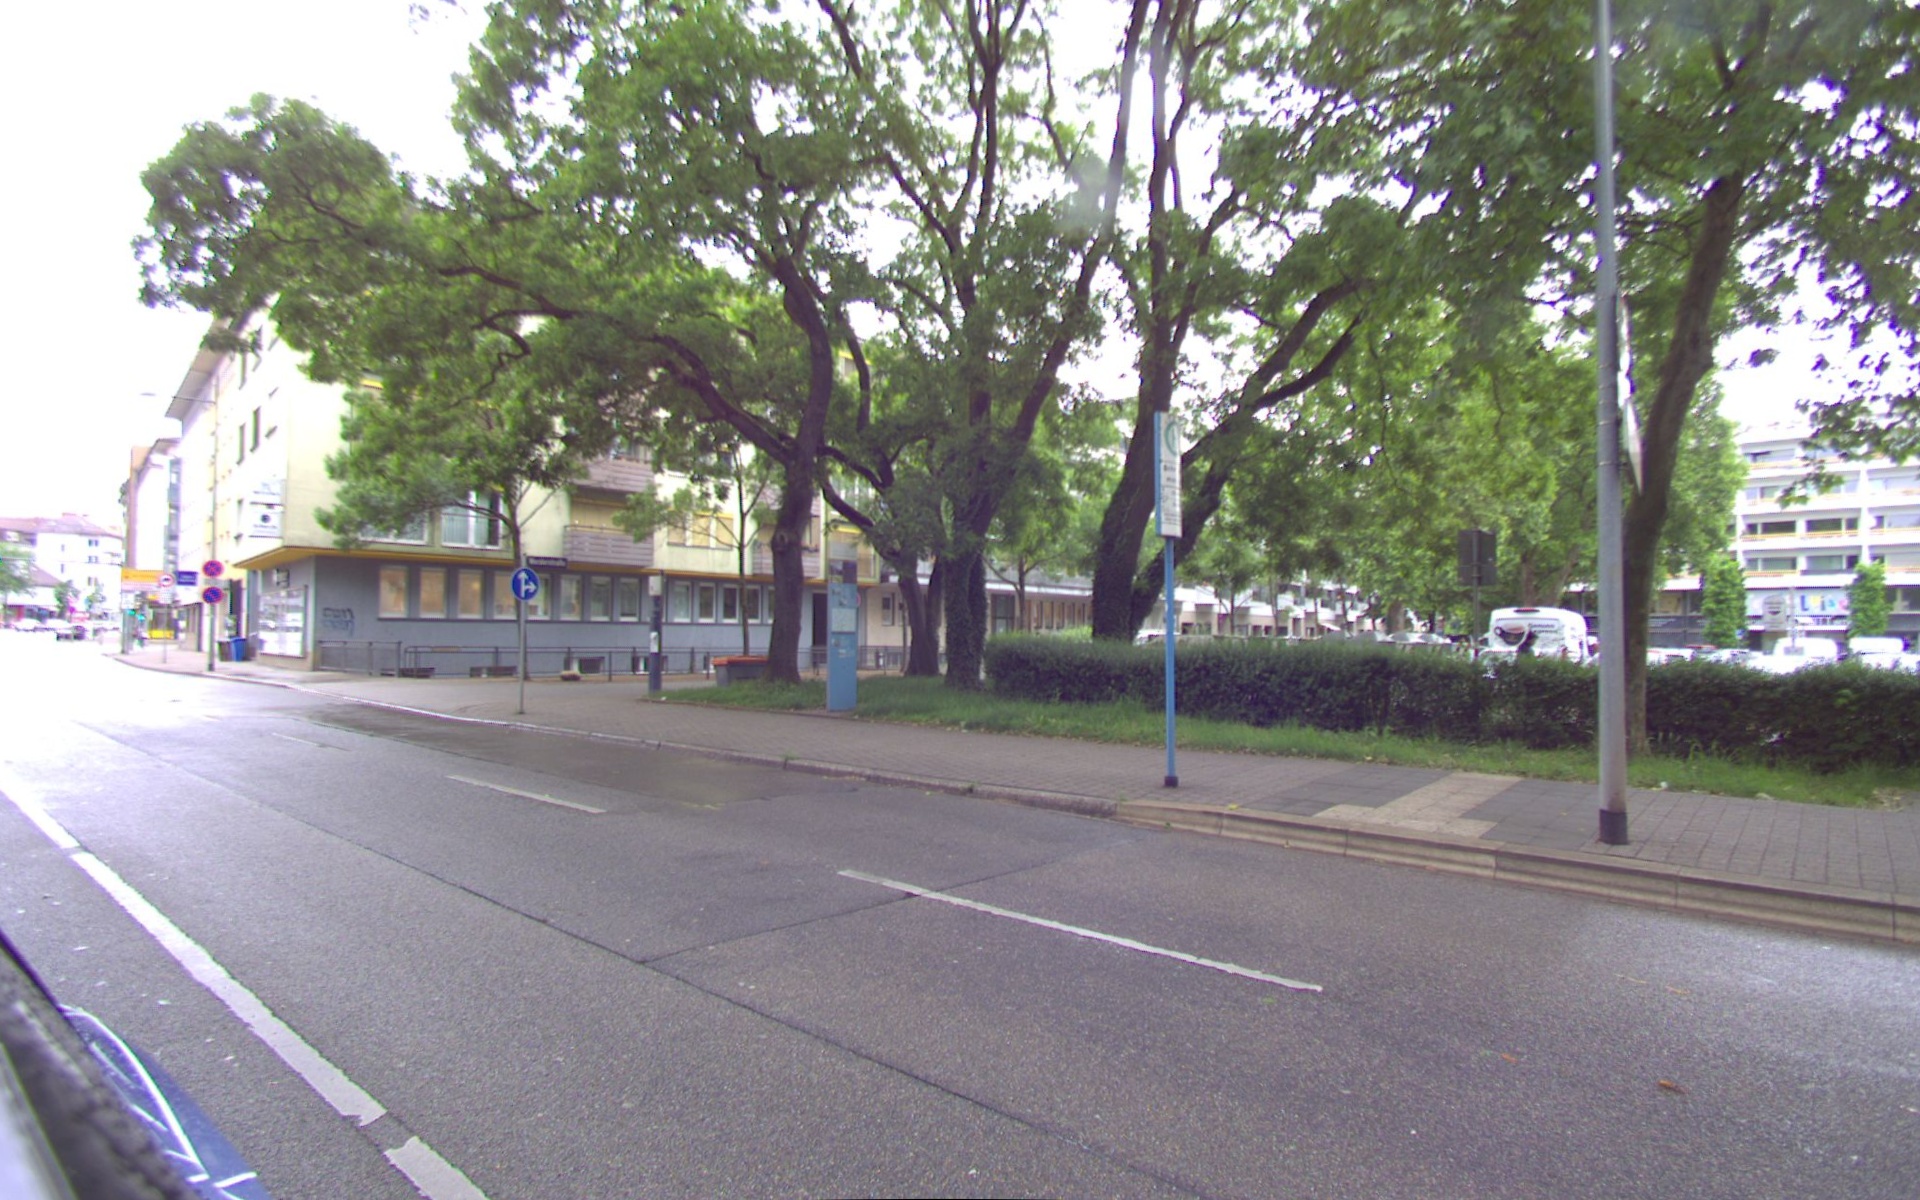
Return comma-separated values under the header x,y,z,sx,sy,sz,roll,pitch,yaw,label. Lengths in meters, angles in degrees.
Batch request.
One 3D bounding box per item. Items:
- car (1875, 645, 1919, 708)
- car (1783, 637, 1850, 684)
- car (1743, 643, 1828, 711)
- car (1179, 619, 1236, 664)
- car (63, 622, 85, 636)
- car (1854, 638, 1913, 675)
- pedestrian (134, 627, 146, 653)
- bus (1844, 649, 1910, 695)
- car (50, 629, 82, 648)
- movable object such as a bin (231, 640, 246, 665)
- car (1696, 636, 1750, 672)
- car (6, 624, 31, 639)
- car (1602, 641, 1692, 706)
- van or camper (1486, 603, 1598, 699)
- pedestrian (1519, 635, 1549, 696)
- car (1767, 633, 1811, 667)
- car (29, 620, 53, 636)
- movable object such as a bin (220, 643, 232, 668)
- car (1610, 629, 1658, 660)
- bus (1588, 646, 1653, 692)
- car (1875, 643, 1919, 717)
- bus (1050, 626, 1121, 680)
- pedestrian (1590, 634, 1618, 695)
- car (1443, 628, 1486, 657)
x,y,z,sx,sy,sz,roll,pitch,yaw,label
23.420,1.862,24.800,1.391,1.446,3.227,-2,-4,41,car
28.178,1.964,33.345,1.604,1.439,3.275,-1,-3,40,car
19.242,1.759,23.557,1.391,1.446,3.227,-2,-4,41,car
11.850,1.983,48.218,1.988,2.029,3.967,0,-3,24,car
-111.925,3.706,127.829,4.002,1.670,1.842,-2,-4,45,car
40.412,2.424,44.336,1.639,1.536,3.160,-1,-2,38,car
-58.394,2.835,72.083,0.586,1.858,0.565,3,-4,-42,pedestrian
33.161,2.574,36.651,1.604,1.551,3.385,-1,-3,40,bus
-82.040,3.545,92.888,4.002,1.730,1.863,-2,-4,45,car
-29.858,2.157,41.870,0.409,1.037,0.354,3,-4,-42,movable object such as a bin
35.724,2.486,47.357,1.837,1.435,3.780,-1,0,39,car
-111.107,3.694,119.438,4.002,1.653,1.971,-2,-4,45,car
16.737,1.755,24.613,1.391,1.446,3.227,-2,-4,41,car
16.850,1.448,29.204,2.097,2.556,4.367,-1,-3,40,van or camper
11.748,1.332,20.721,0.484,1.222,0.433,-1,0,34,pedestrian
41.988,2.503,51.295,1.639,1.536,3.161,-1,0,38,car
-114.389,3.528,125.995,4.002,1.866,1.971,-2,-4,45,car
-30.208,2.281,41.631,0.333,1.037,0.354,3,-4,-42,movable object such as a bin
32.468,2.159,48.724,1.604,1.439,3.275,-1,-3,40,car
24.160,2.493,36.966,1.604,1.551,3.385,-1,-3,40,bus
19.933,1.634,20.937,1.391,1.446,3.227,-2,-4,41,car
4.841,2.007,38.678,1.703,1.939,3.697,0,-3,24,bus
13.252,1.314,20.833,0.465,1.222,0.433,-1,0,34,pedestrian
27.250,2.292,54.653,1.428,1.439,2.926,-2,-1,40,car
